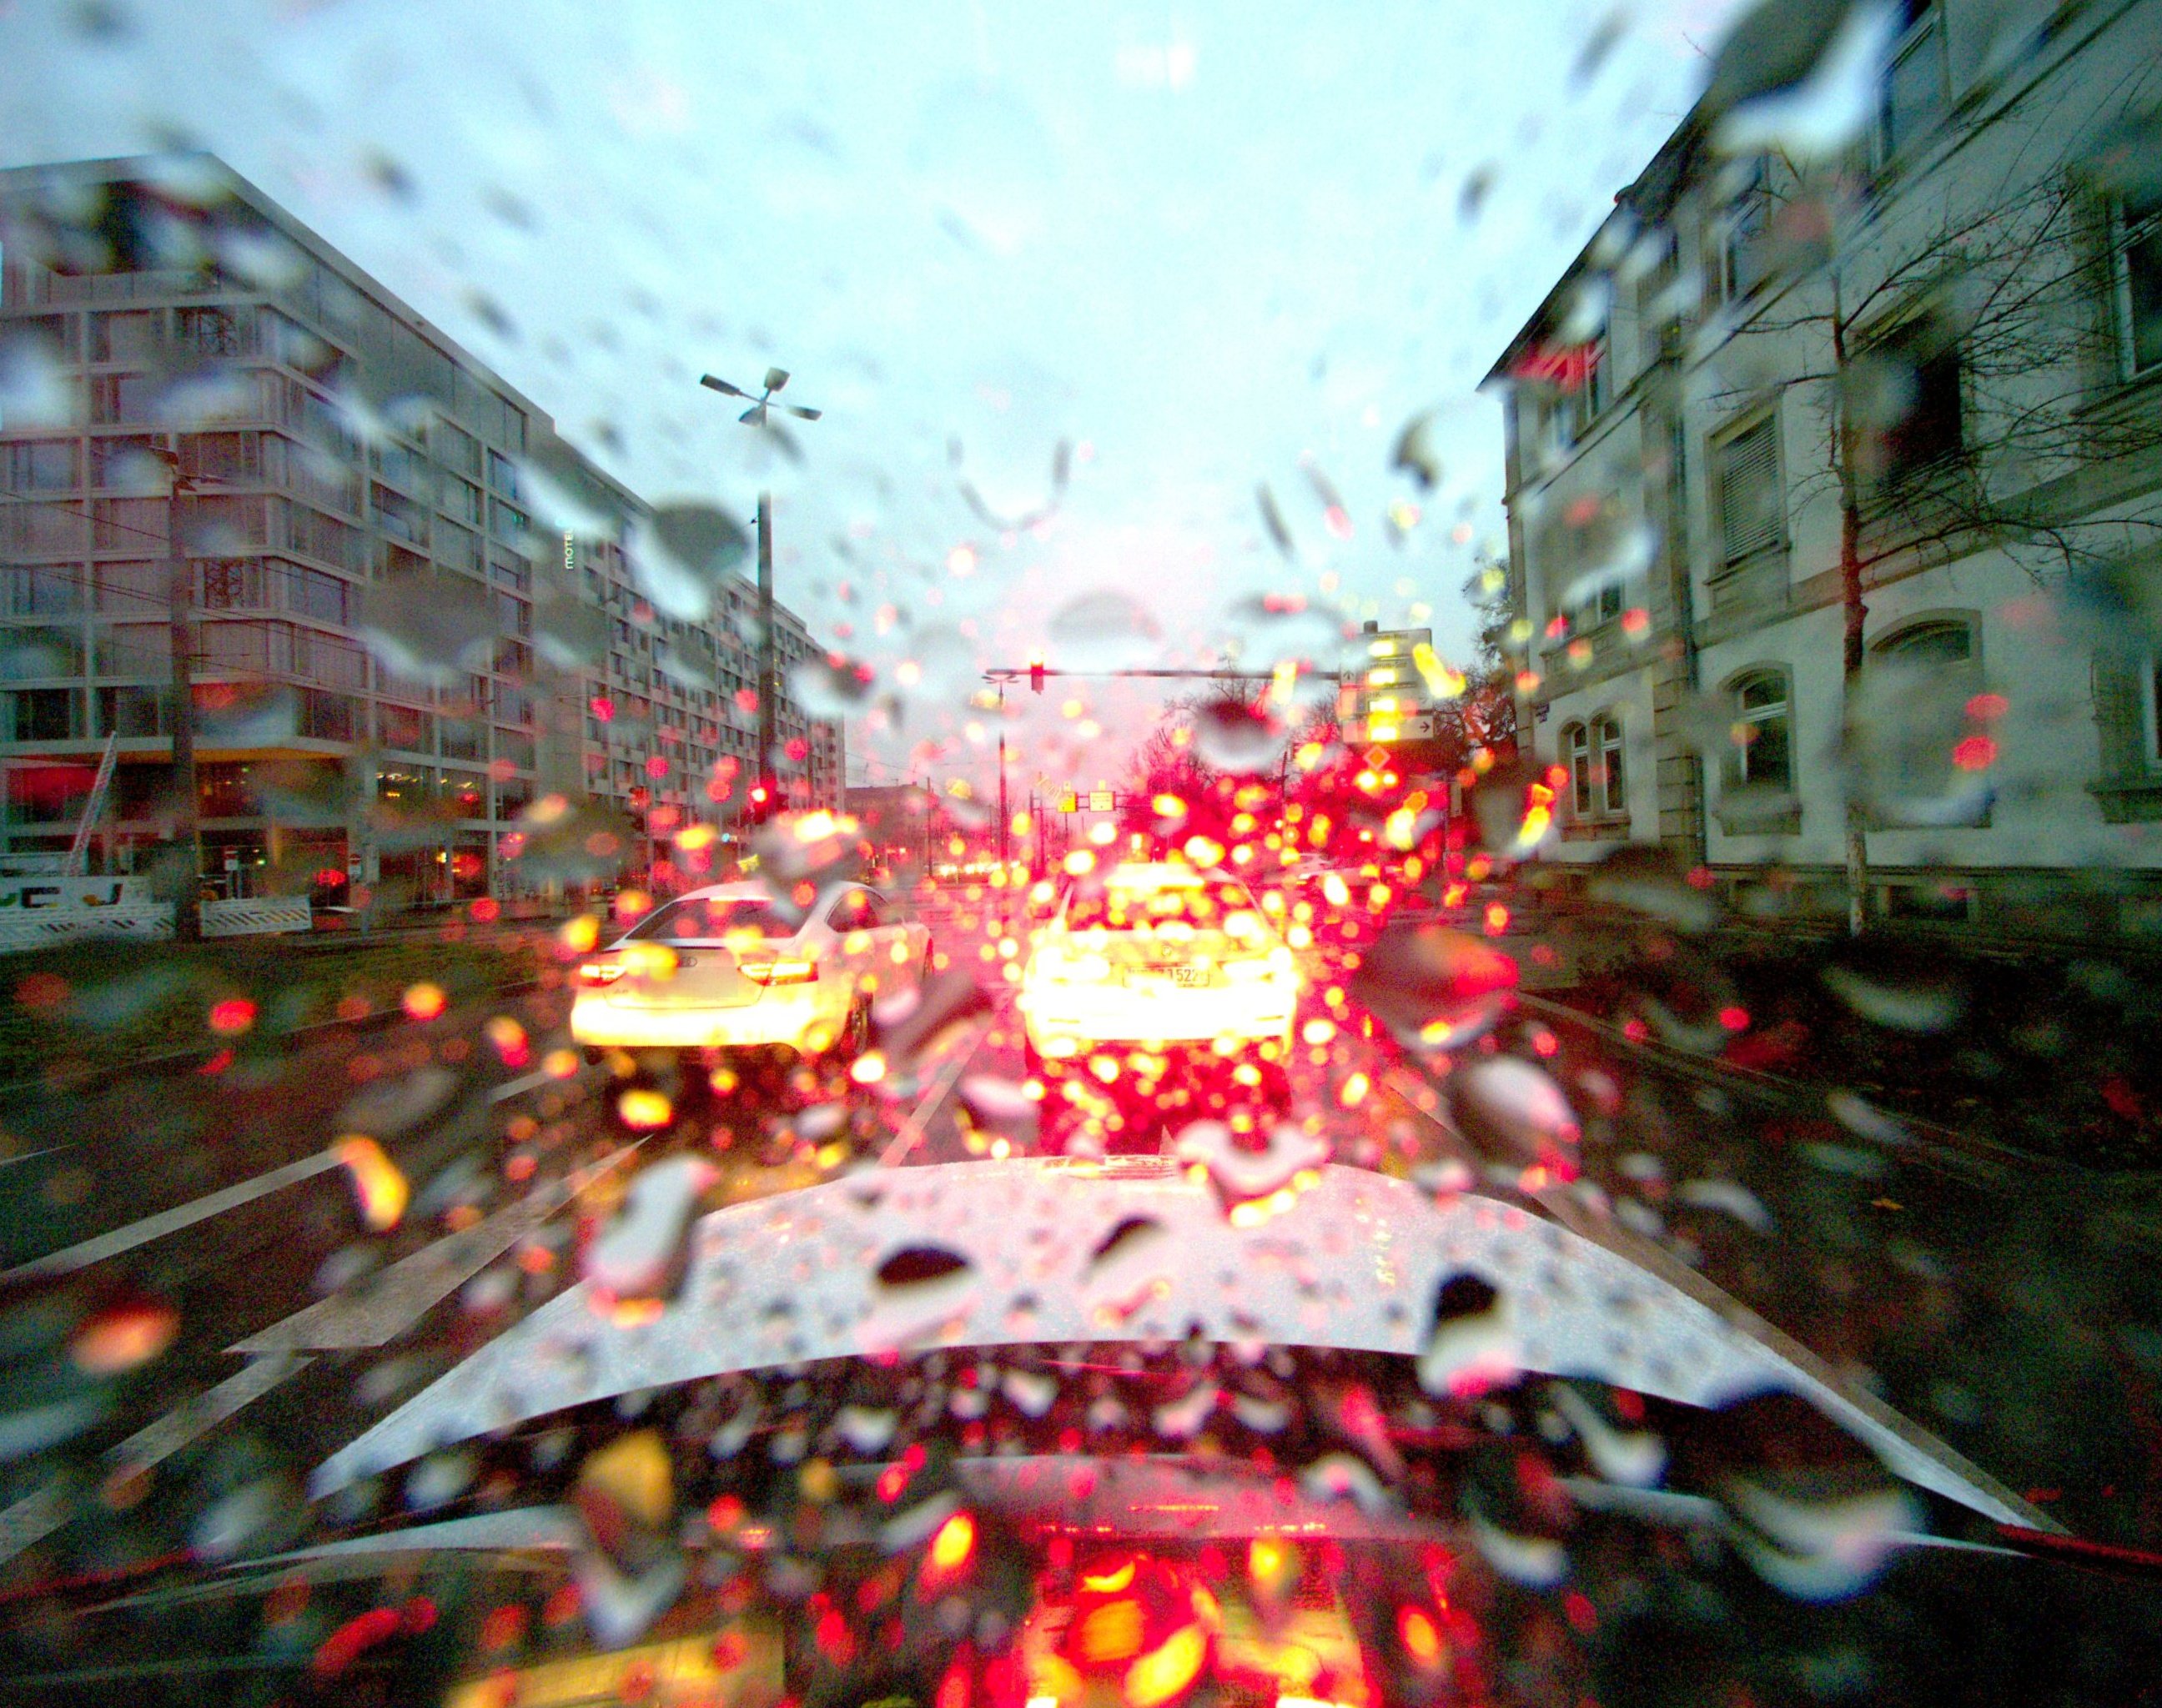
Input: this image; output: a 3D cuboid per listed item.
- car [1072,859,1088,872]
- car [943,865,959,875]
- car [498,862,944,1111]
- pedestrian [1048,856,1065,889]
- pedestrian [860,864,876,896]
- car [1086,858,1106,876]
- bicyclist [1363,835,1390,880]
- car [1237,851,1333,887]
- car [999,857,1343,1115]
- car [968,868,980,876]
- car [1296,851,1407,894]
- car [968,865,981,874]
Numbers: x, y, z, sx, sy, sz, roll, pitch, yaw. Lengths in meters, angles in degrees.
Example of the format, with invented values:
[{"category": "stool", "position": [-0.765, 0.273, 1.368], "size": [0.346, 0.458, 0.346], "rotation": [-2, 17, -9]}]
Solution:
[{"category": "car", "position": [-0.059, 1.415, 98.937], "size": [1.836, 1.609, 3.945], "rotation": [0, -1, 1]}, {"category": "car", "position": [-19.355, 2.386, 121.126], "size": [1.669, 1.508, 3.697], "rotation": [0, -1, 1]}, {"category": "car", "position": [-2.594, 0.840, 7.224], "size": [1.987, 1.456, 4.367], "rotation": [-1, 0, 0]}, {"category": "pedestrian", "position": [-1.434, 1.067, 46.996], "size": [0.902, 1.856, 0.810], "rotation": [0, -1, -9]}, {"category": "pedestrian", "position": [-11.715, 1.432, 44.777], "size": [0.791, 1.712, 0.809], "rotation": [0, -1, -13]}, {"category": "car", "position": [1.388, 1.238, 76.014], "size": [1.836, 1.609, 3.945], "rotation": [0, -1, 1]}, {"category": "bicyclist", "position": [11.727, 0.157, 32.320], "size": [0.964, 1.759, 0.817], "rotation": [0, -1, 17]}, {"category": "car", "position": [9.099, 0.663, 36.236], "size": [3.920, 1.554, 1.758], "rotation": [0, -1, 22]}, {"category": "car", "position": [0.529, 0.771, 6.931], "size": [1.987, 1.456, 4.367], "rotation": [-1, 0, 0]}, {"category": "car", "position": [-20.384, 3.427, 154.916], "size": [1.669, 1.508, 3.697], "rotation": [0, -1, 1]}, {"category": "car", "position": [9.587, 0.661, 29.128], "size": [3.662, 1.478, 1.634], "rotation": [0, -1, 13]}, {"category": "car", "position": [-18.394, 2.754, 141.315], "size": [1.669, 1.508, 3.697], "rotation": [0, -1, 1]}]
